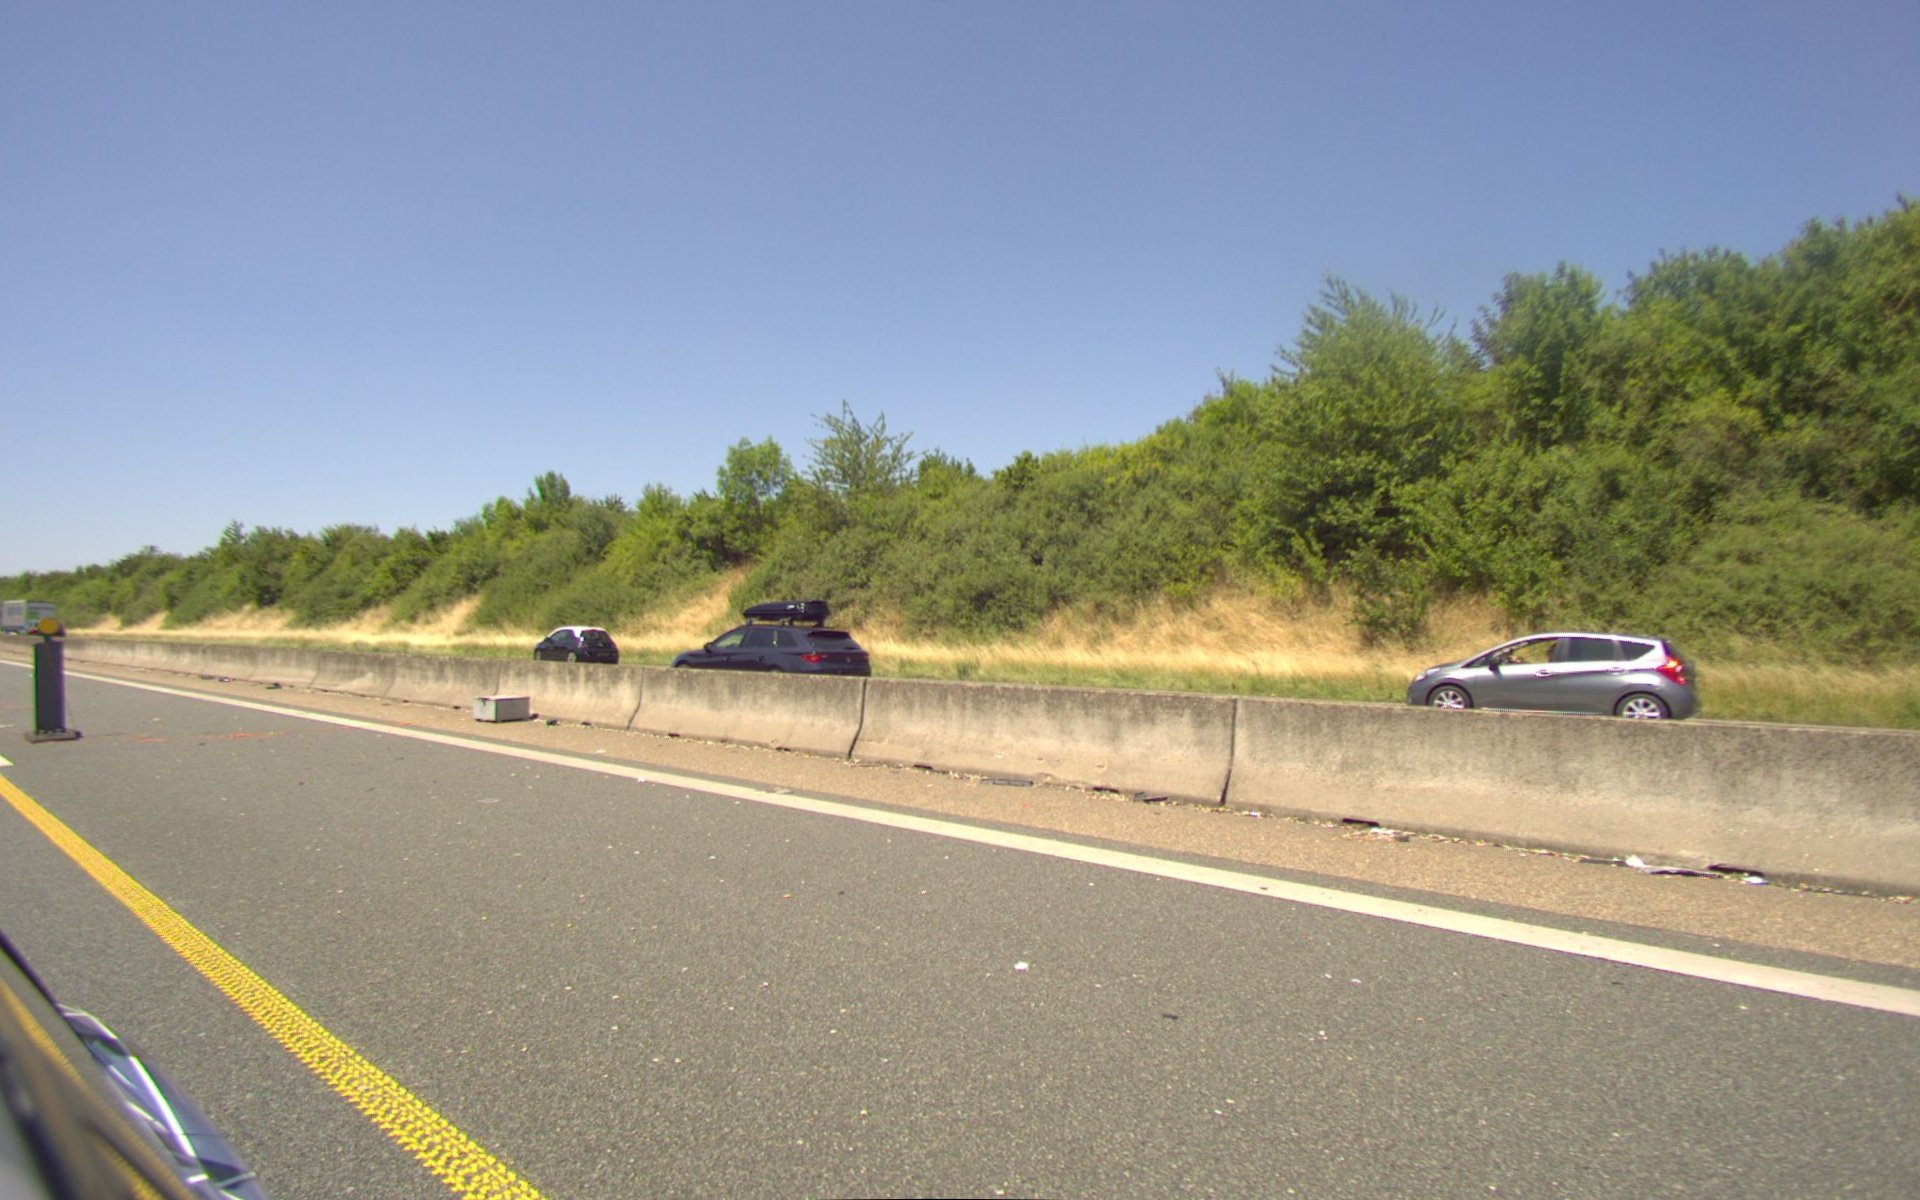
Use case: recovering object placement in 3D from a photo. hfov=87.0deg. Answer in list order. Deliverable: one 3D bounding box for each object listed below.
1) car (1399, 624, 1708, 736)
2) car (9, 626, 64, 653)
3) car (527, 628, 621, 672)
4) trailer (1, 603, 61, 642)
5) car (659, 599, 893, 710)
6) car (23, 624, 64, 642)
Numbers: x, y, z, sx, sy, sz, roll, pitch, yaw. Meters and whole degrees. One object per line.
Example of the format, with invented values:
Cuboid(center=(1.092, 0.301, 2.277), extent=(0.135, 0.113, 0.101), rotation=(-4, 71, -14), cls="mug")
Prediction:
Cuboid(center=(9.227, 1.158, 15.928), extent=(3.997, 1.560, 1.484), rotation=(-1, -2, 40), cls="car")
Cuboid(center=(-56.937, 2.385, 62.374), extent=(4.580, 1.612, 1.973), rotation=(-1, -2, 41), cls="car")
Cuboid(center=(-13.777, 1.735, 36.026), extent=(3.776, 1.475, 1.557), rotation=(-1, -2, 41), cls="car")
Cuboid(center=(-103.580, 2.582, 112.725), extent=(13.625, 4.093, 2.923), rotation=(-1, -4, 40), cls="trailer")
Cuboid(center=(-3.528, 0.959, 18.906), extent=(4.617, 1.832, 1.724), rotation=(-1, -2, 39), cls="car")
Cuboid(center=(-79.305, 2.862, 87.541), extent=(4.582, 1.472, 1.974), rotation=(-1, -2, 39), cls="car")
